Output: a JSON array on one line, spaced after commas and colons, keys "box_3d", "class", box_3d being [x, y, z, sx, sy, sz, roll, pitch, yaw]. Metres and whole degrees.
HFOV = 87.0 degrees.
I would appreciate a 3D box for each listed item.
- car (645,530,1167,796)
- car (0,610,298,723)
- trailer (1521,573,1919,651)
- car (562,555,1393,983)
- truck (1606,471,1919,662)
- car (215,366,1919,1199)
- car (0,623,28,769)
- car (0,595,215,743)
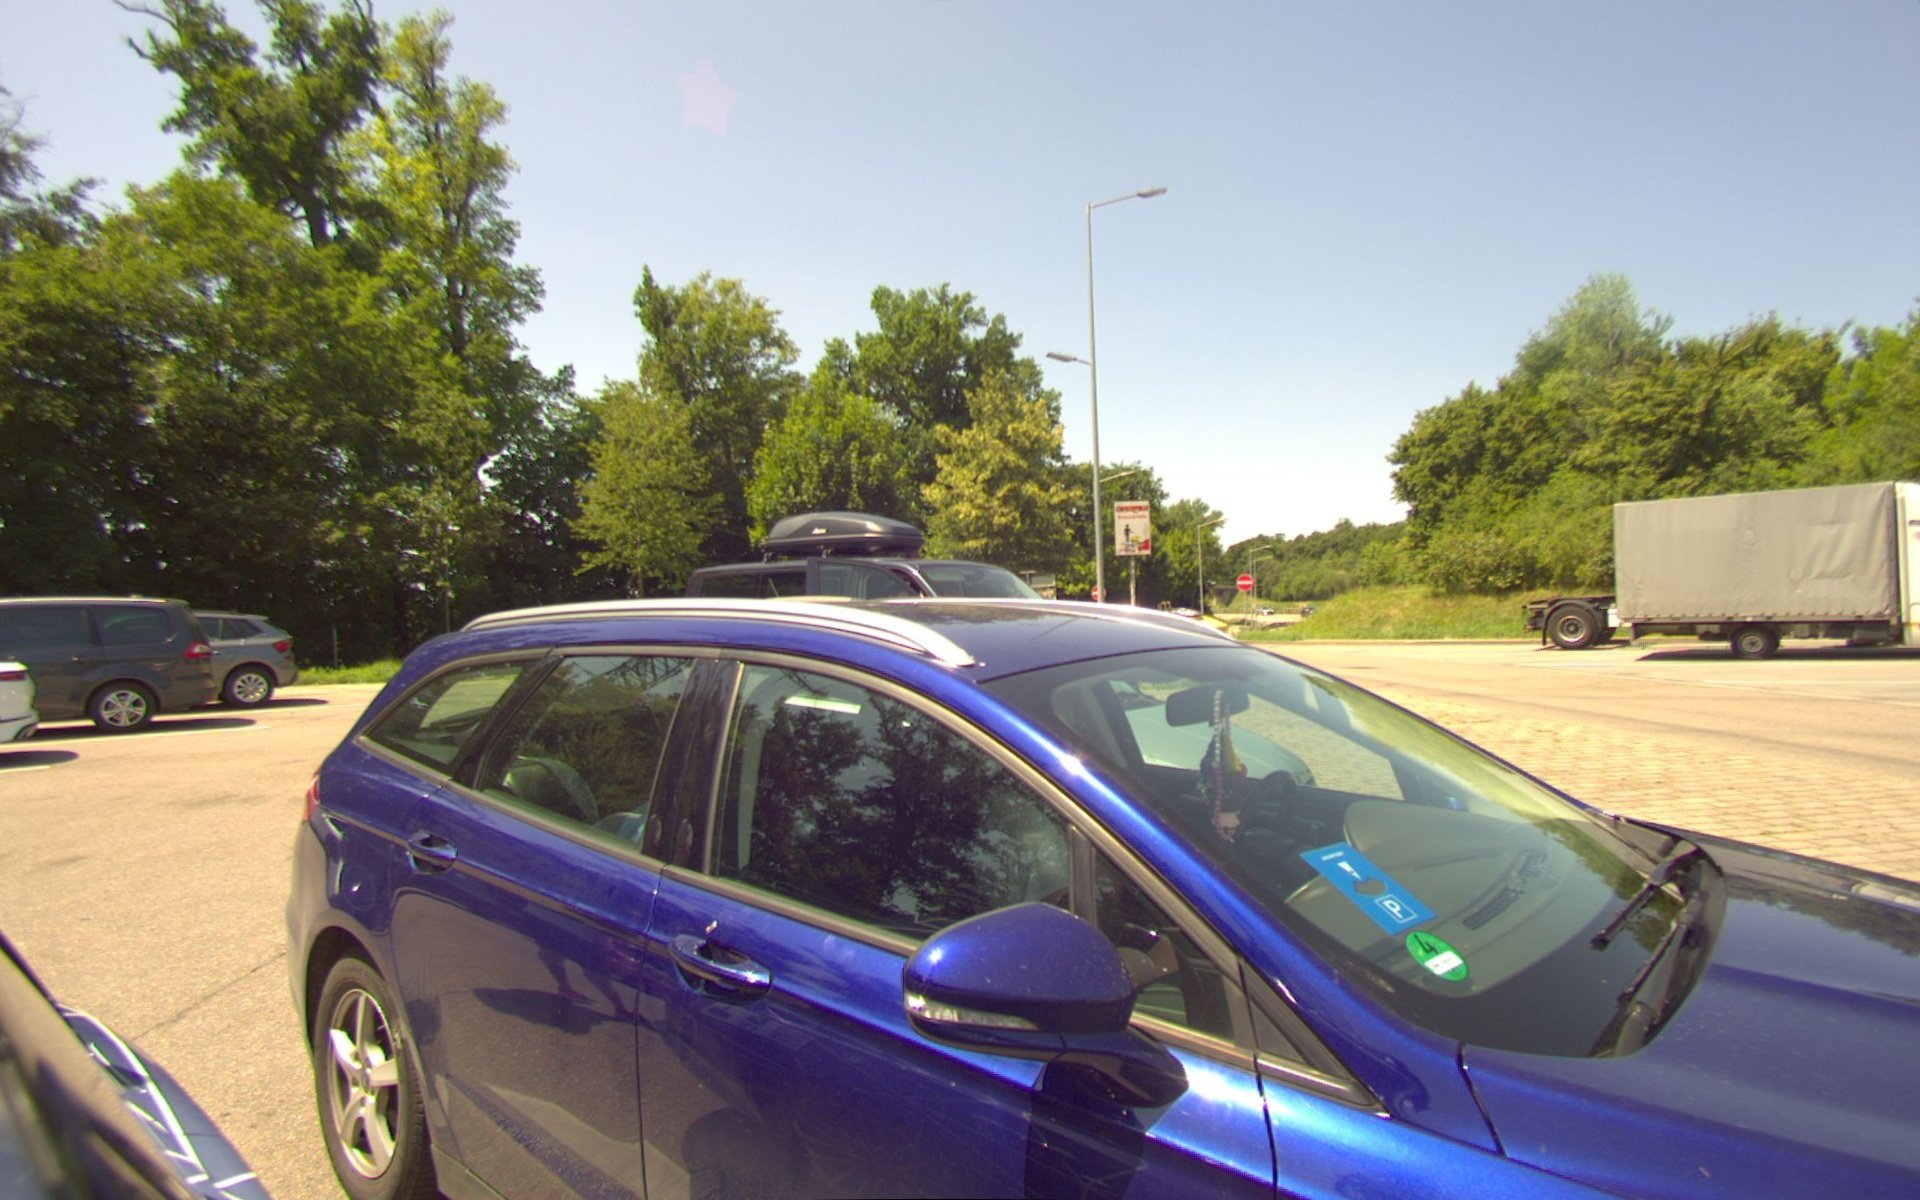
[{"box_3d": [-0.664, 0.507, 9.360, 4.635, 1.884, 1.937, -2, 0, 37], "class": "car"}, {"box_3d": [-12.598, 0.951, 15.705, 3.762, 1.551, 1.724, 0, -1, -38], "class": "car"}, {"box_3d": [17.631, 0.314, 23.156, 8.088, 1.385, 2.200, -4, -1, 41], "class": "trailer"}, {"box_3d": [-0.220, 0.669, 5.787, 4.637, 1.545, 1.720, -2, 0, 39], "class": "car"}, {"box_3d": [16.703, -0.599, 18.935, 7.337, 3.235, 2.502, -4, -1, 41], "class": "truck"}, {"box_3d": [0.242, 0.631, 2.075, 4.637, 1.493, 1.720, -2, -1, 39], "class": "car"}, {"box_3d": [-11.001, 0.927, 9.160, 3.767, 1.396, 1.722, 0, -1, -43], "class": "car"}, {"box_3d": [-11.659, 0.817, 12.624, 3.762, 1.737, 1.724, 0, -1, -38], "class": "car"}]
